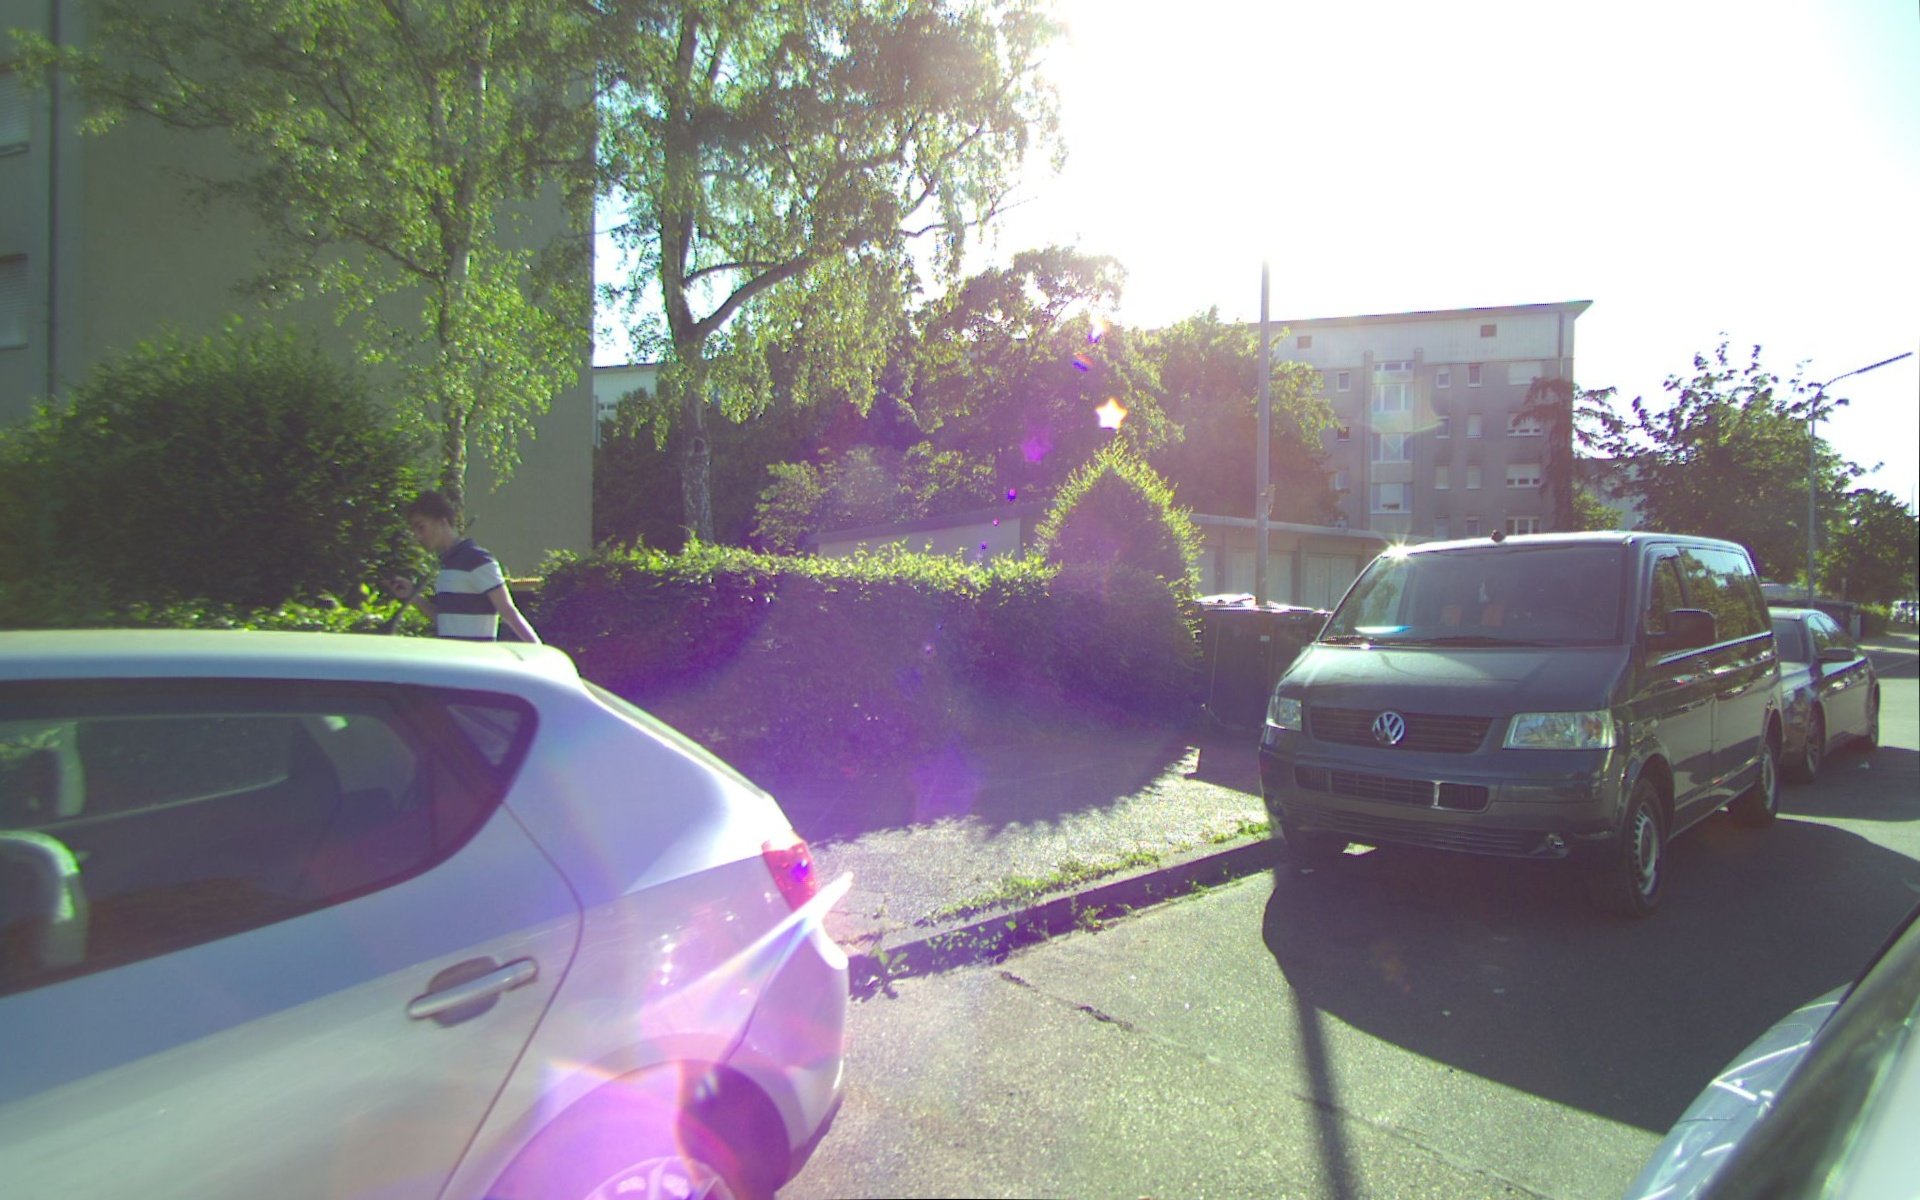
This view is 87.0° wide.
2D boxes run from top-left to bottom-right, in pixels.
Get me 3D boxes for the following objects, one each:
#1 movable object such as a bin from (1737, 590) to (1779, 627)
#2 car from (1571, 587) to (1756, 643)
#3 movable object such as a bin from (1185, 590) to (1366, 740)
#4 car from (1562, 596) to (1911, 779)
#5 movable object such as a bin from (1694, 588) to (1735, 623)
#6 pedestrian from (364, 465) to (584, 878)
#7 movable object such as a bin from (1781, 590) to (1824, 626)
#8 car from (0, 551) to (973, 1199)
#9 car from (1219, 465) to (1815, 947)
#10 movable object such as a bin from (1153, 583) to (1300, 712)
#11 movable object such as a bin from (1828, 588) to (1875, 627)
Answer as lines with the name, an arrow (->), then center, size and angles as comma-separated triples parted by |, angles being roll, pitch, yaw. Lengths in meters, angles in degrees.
movable object such as a bin -> 33.839, 0.357, 42.902 | 1.324, 1.556, 1.013 | 0, 0, 44
car -> 20.457, 0.386, 29.549 | 1.787, 1.513, 4.186 | 0, 0, -43
movable object such as a bin -> 3.139, 0.598, 10.107 | 1.359, 1.326, 1.031 | 1, 3, -31
car -> 7.897, 0.679, 10.124 | 4.553, 1.437, 1.805 | 0, 0, -40
movable object such as a bin -> 32.734, 0.230, 43.908 | 1.322, 1.500, 1.013 | 0, 0, 44
pedestrian -> -2.509, 0.316, 5.217 | 0.857, 1.911, 0.705 | 0, 3, -40
movable object such as a bin -> 34.898, 0.323, 41.931 | 1.324, 1.449, 1.013 | 0, 0, 44
car -> -1.984, 0.707, 1.439 | 3.966, 1.509, 1.625 | 0, -1, -42
car -> 3.750, 0.431, 6.372 | 4.624, 1.959, 1.855 | 0, -1, -42
movable object such as a bin -> 3.080, 0.502, 11.754 | 1.112, 1.382, 1.227 | 0, 1, -37
movable object such as a bin -> 35.889, 0.288, 40.738 | 1.325, 1.445, 1.053 | 4, 3, 44
